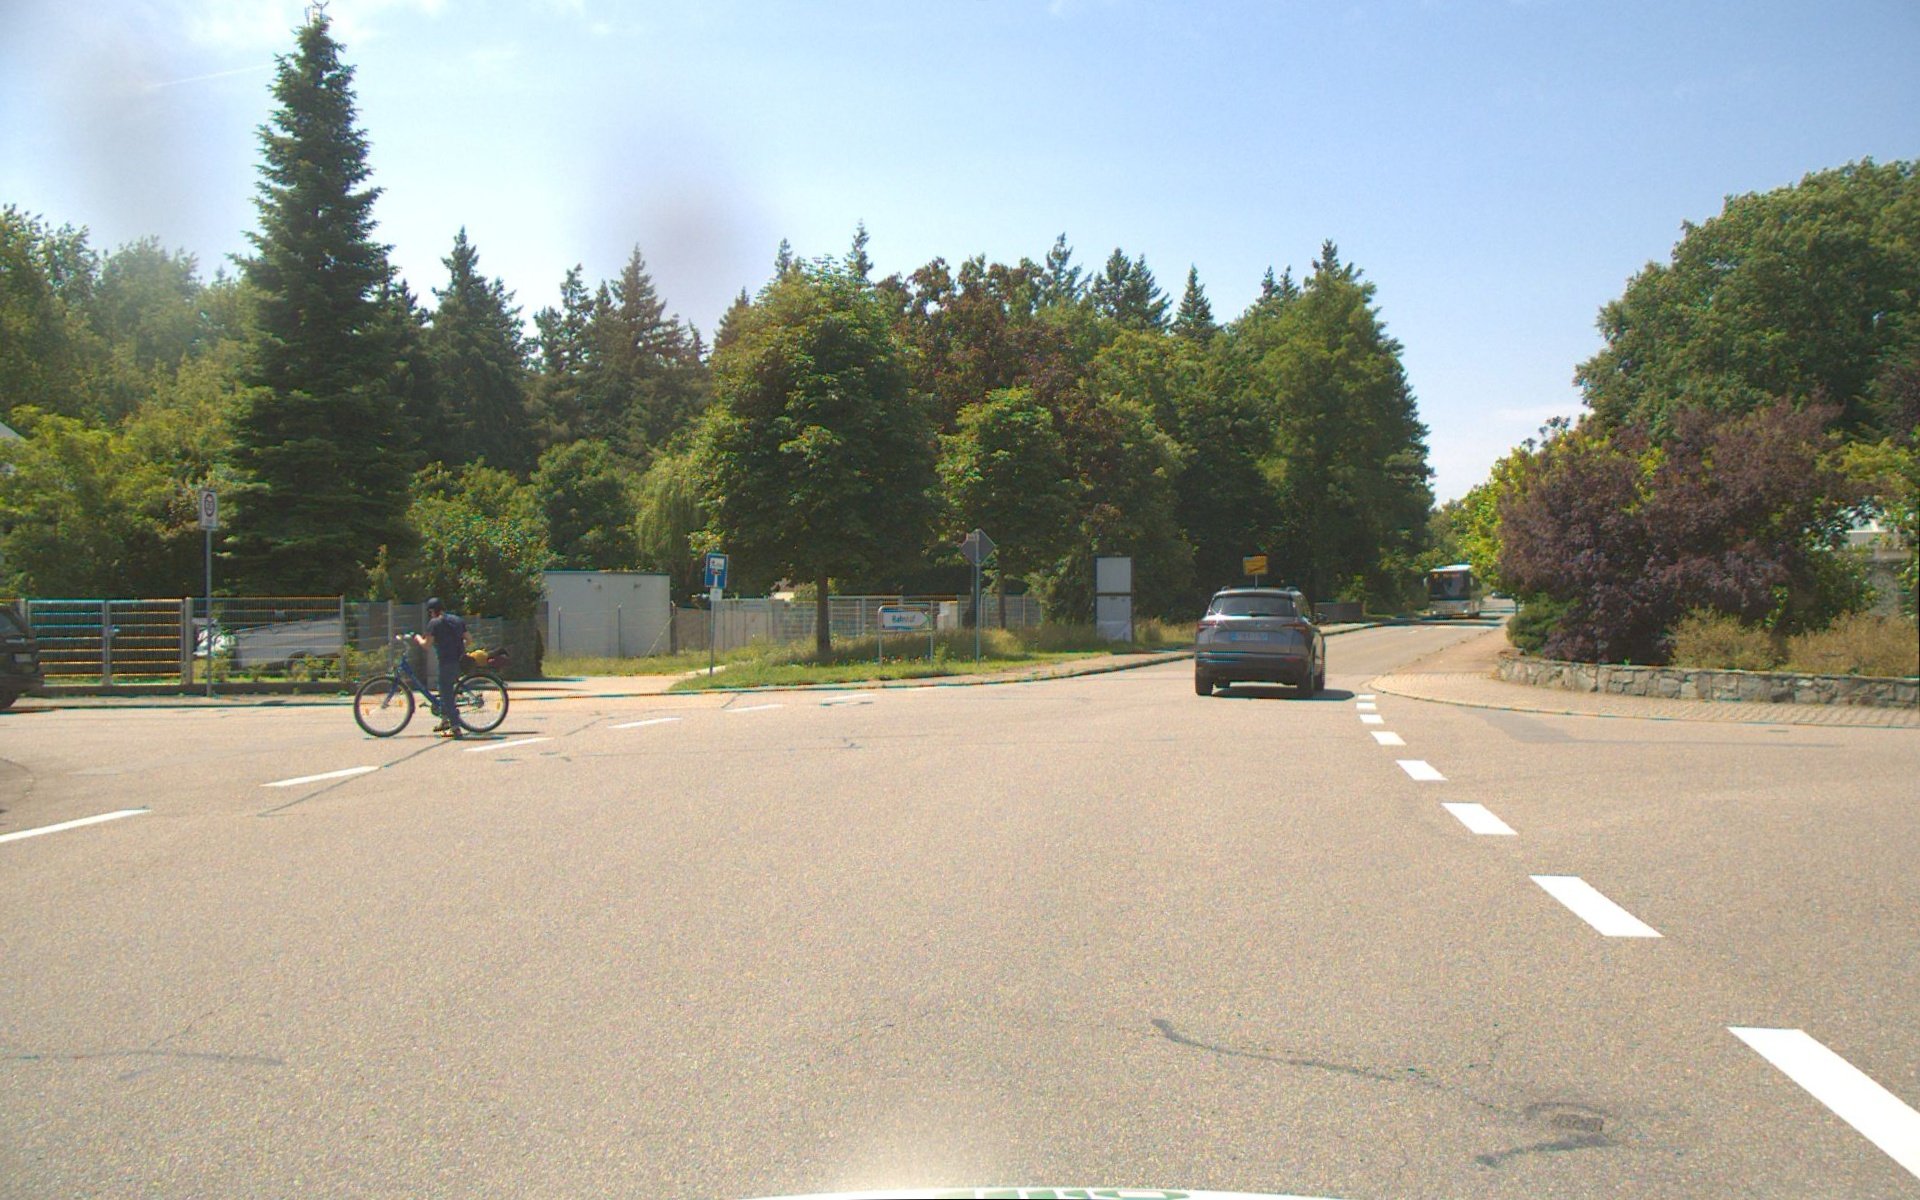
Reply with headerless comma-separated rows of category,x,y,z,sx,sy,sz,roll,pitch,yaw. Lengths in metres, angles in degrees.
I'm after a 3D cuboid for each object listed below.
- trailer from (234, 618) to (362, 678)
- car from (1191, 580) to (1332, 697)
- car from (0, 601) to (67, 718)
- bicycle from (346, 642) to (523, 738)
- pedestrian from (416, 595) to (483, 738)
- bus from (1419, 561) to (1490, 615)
trailer,-13.001,0.928,32.565,2.176,1.103,1.103,-1,0,-13
car,4.762,0.554,25.745,1.725,1.646,4.002,1,0,17
car,-16.180,0.882,24.684,4.575,1.691,1.968,-1,0,-4
bicycle,-5.821,0.982,18.364,1.823,0.980,0.439,-1,0,-30
pedestrian,-5.557,0.708,17.988,0.603,1.527,0.499,0,0,-29
bus,32.393,-0.787,107.968,3.116,3.301,12.709,-1,0,22
